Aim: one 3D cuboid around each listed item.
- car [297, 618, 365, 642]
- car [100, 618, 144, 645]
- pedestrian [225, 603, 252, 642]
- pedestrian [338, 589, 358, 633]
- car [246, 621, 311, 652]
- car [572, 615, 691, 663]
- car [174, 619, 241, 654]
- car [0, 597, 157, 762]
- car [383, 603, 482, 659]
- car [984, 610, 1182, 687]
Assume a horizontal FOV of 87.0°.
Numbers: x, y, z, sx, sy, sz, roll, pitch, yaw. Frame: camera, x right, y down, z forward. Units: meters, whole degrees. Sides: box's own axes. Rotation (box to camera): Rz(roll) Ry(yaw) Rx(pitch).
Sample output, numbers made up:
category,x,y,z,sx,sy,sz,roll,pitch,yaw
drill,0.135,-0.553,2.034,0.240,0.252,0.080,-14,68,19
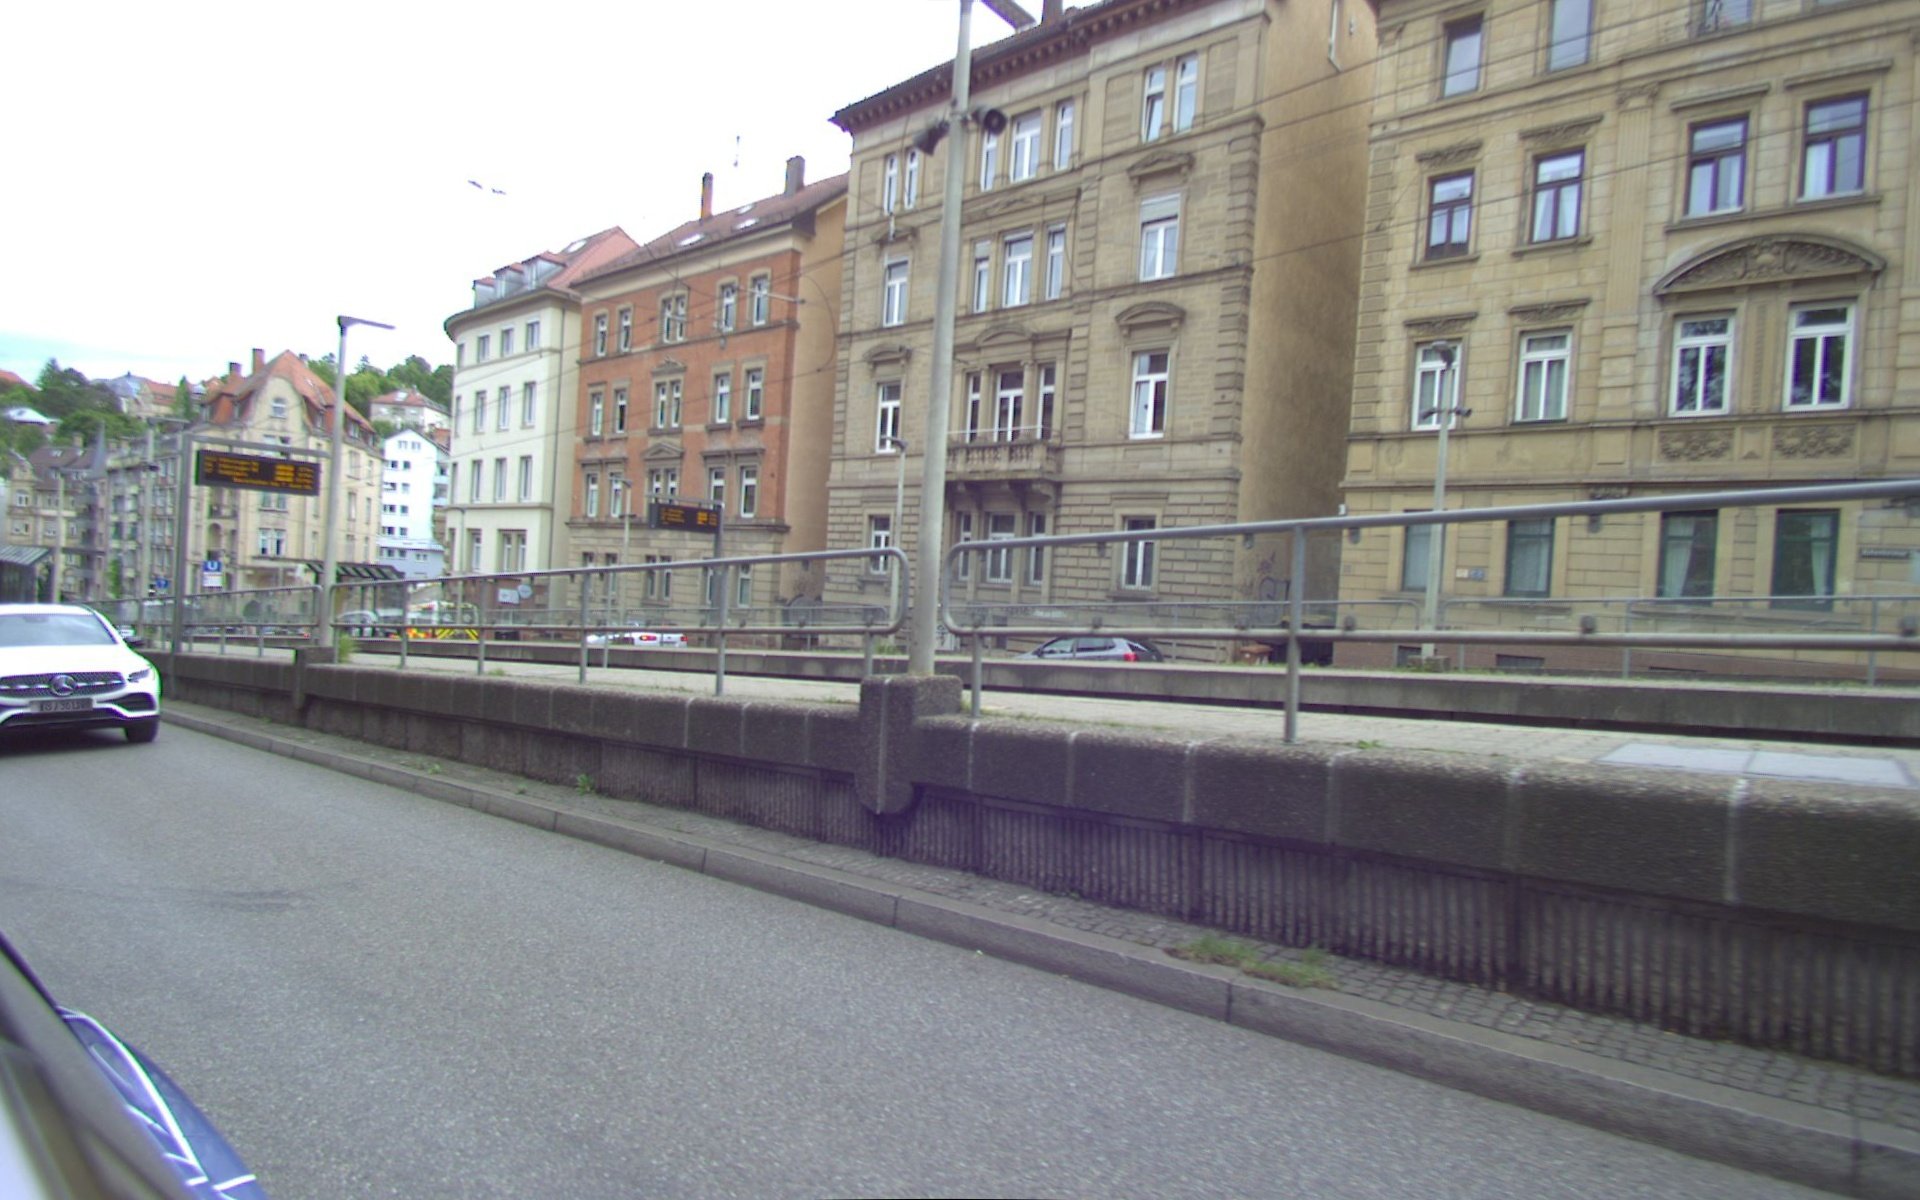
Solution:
category,x,y,z,sx,sy,sz,roll,pitch,yaw
car,-46.382,2.244,74.698,1.983,1.723,3.976,-1,-2,18
car,-57.711,2.156,69.675,3.863,1.778,1.803,-2,-1,42
pedestrian,-31.677,0.988,44.432,0.842,1.701,0.757,-2,-3,41
pedestrian,-22.271,0.406,36.812,0.540,1.574,0.457,-2,-3,40
car,-38.735,2.064,57.498,4.411,1.658,1.843,-1,-2,40
car,-10.906,1.246,33.481,4.257,1.482,1.750,-1,-1,40
car,-42.110,2.035,56.581,4.411,1.909,1.973,-1,-2,40
car,-11.301,0.832,12.204,4.670,1.679,1.816,-1,0,42
car,-23.097,1.355,44.222,5.452,2.322,1.973,-1,-2,41
car,2.641,1.051,22.274,3.998,1.540,1.858,-2,-3,41
